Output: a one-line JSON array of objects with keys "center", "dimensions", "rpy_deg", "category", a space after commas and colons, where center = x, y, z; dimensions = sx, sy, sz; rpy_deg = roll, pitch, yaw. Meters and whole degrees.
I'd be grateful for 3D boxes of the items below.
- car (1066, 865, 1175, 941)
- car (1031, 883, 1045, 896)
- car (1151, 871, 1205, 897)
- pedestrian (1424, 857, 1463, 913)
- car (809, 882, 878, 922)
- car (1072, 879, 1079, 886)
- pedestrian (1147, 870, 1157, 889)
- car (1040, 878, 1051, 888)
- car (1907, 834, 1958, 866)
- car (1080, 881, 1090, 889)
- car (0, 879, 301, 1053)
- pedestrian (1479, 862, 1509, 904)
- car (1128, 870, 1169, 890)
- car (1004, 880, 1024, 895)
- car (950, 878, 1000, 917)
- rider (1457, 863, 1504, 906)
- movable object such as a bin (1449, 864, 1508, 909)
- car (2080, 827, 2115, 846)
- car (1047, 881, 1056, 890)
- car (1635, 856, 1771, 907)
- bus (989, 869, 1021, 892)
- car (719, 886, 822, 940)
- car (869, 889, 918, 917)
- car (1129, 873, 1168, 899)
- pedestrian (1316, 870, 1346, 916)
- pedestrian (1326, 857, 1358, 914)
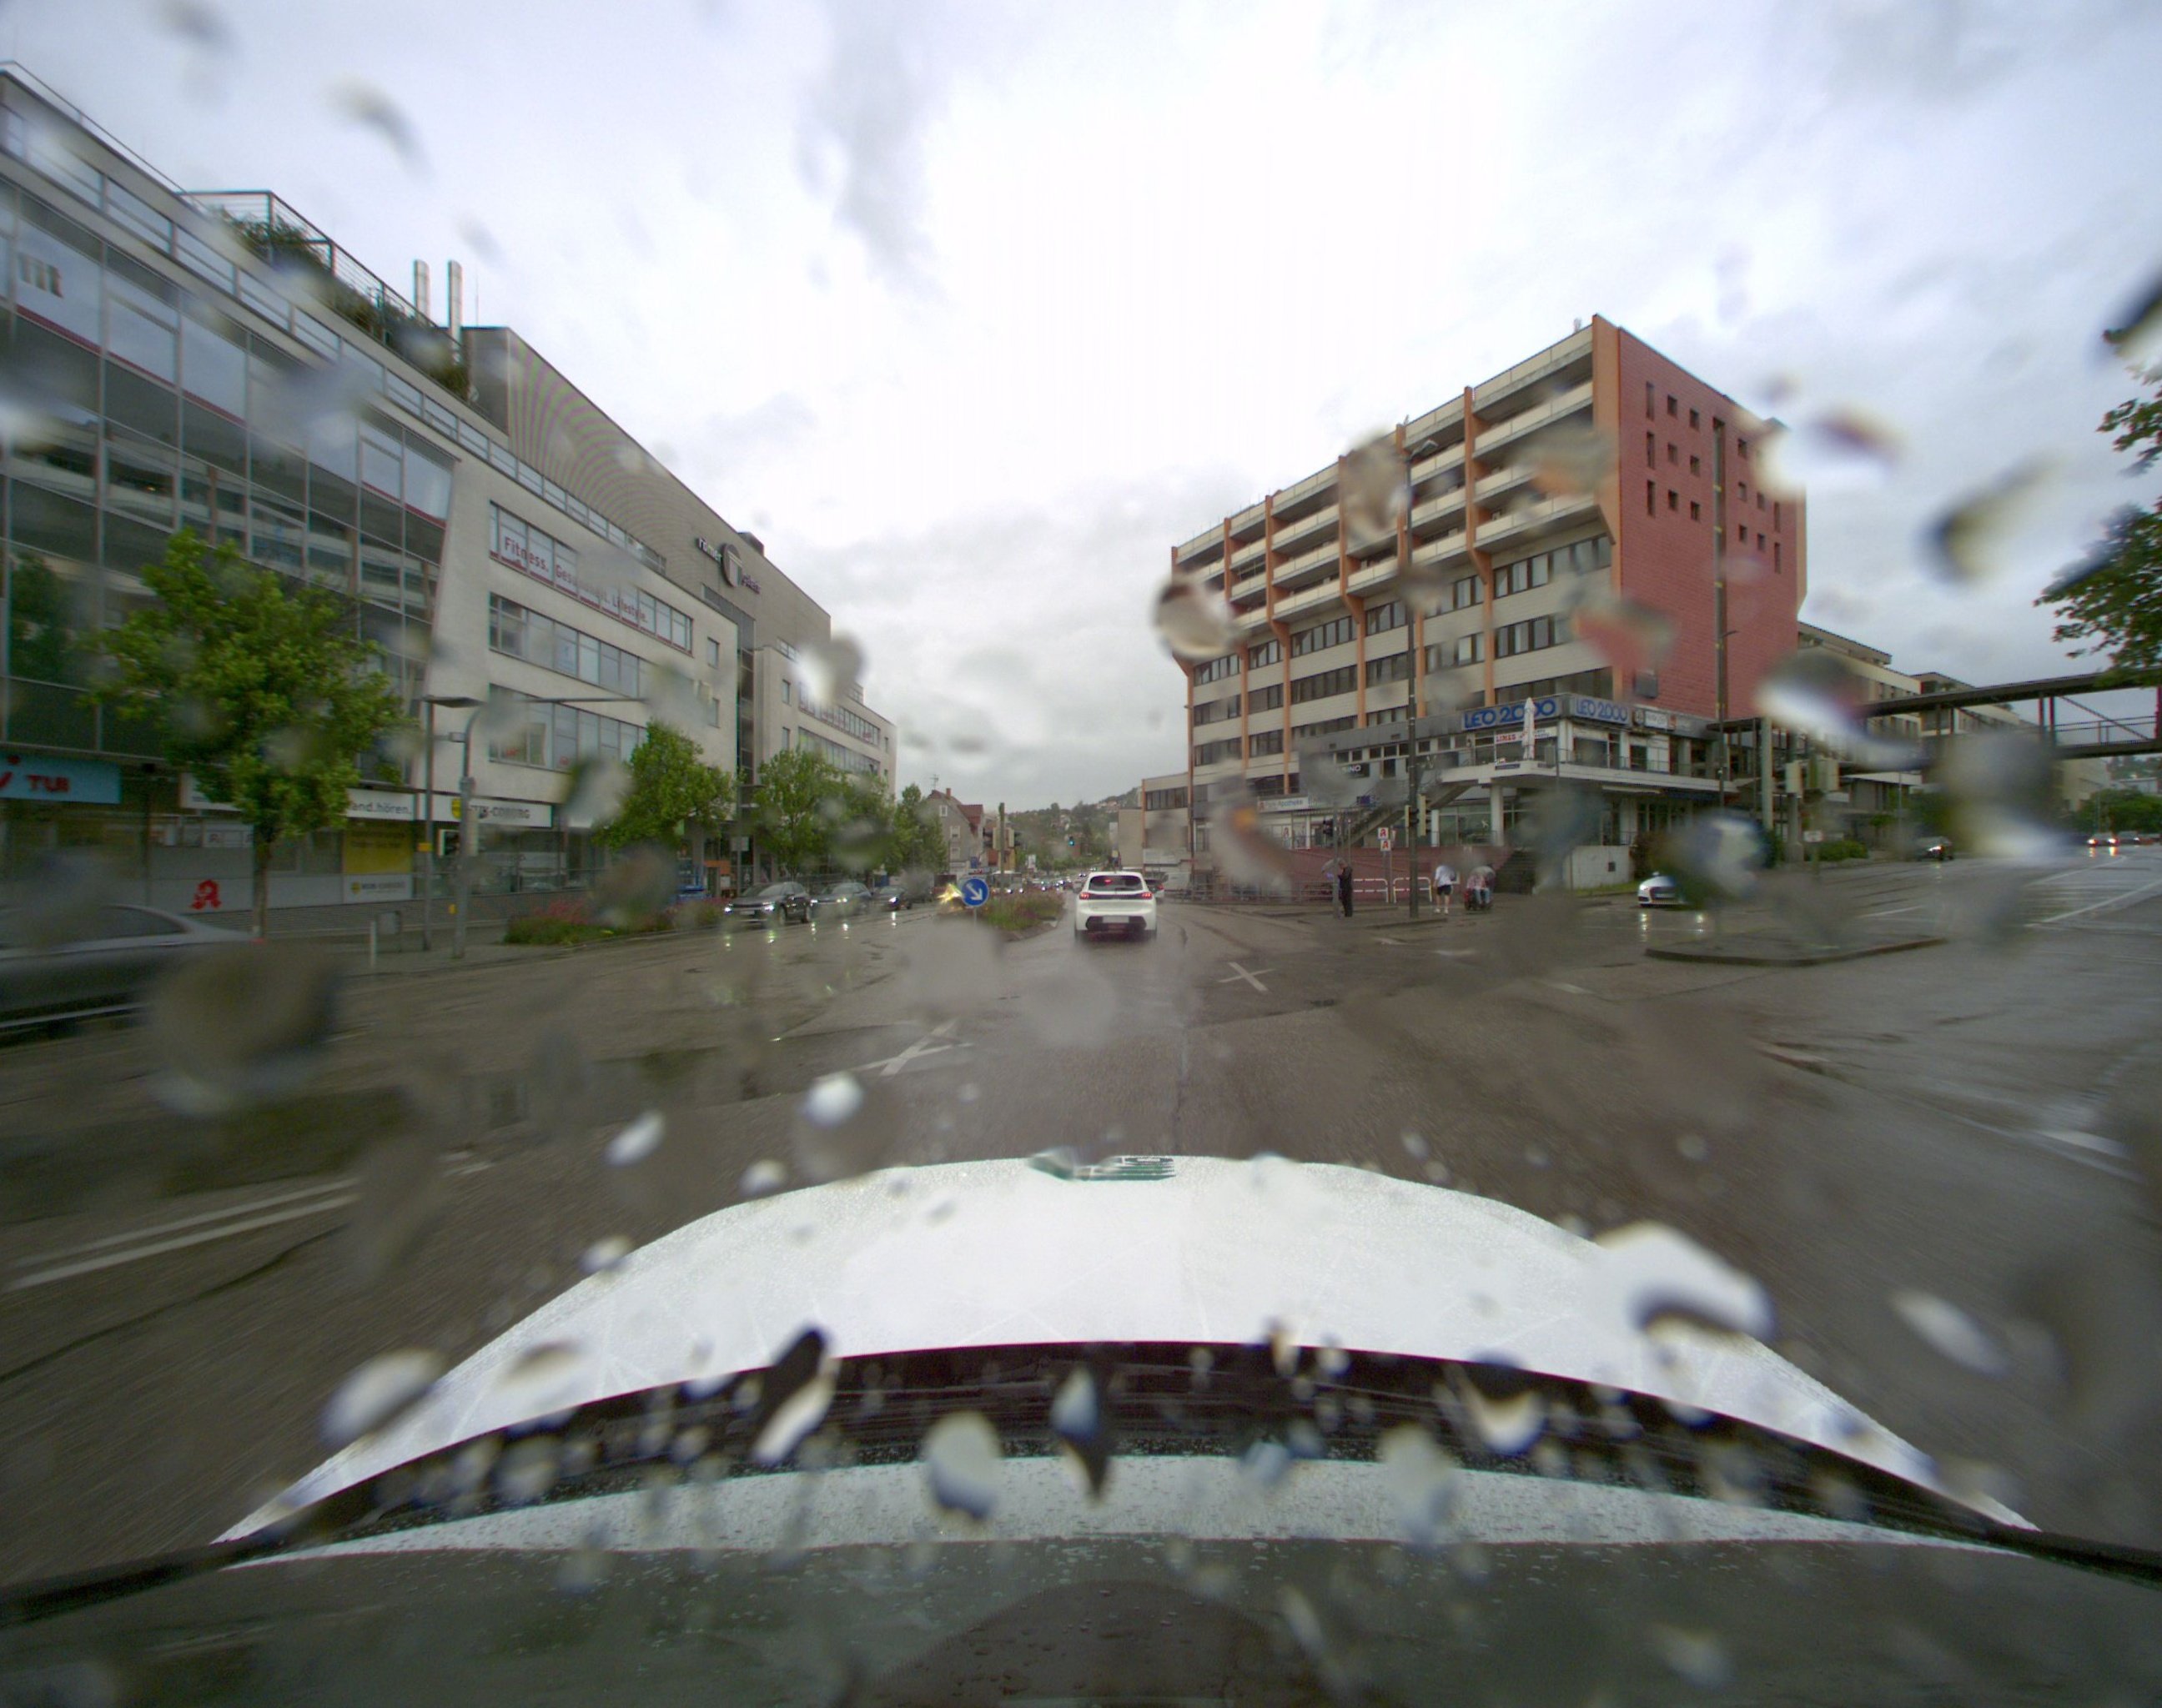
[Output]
[{"center": [0.992, 0.998, 18.082], "dimensions": [1.860, 1.462, 3.884], "rpy_deg": [0, -1, 11], "category": "car"}, {"center": [-6.093, 5.001, 115.251], "dimensions": [1.810, 1.555, 3.997], "rpy_deg": [-2, -1, -2], "category": "car"}, {"center": [8.731, 2.718, 73.482], "dimensions": [2.008, 2.227, 4.922], "rpy_deg": [-1, -1, -35], "category": "car"}, {"center": [11.237, 0.952, 25.298], "dimensions": [0.823, 1.691, 1.132], "rpy_deg": [-1, -1, 10], "category": "pedestrian"}, {"center": [-11.418, 2.274, 39.464], "dimensions": [1.767, 1.594, 4.589], "rpy_deg": [-4, -1, 1], "category": "car"}, {"center": [-1.292, 7.234, 206.059], "dimensions": [1.741, 1.555, 3.998], "rpy_deg": [-2, -1, -1], "category": "car"}, {"center": [6.701, 2.428, 76.934], "dimensions": [0.644, 1.823, 0.577], "rpy_deg": [-1, -2, -32], "category": "pedestrian"}, {"center": [-5.913, 4.799, 135.761], "dimensions": [1.741, 1.555, 3.998], "rpy_deg": [-2, -1, -1], "category": "car"}, {"center": [56.696, -0.236, 54.192], "dimensions": [4.020, 2.014, 1.977], "rpy_deg": [0, -2, -40], "category": "car"}, {"center": [0.746, 5.984, 157.834], "dimensions": [1.741, 1.555, 3.998], "rpy_deg": [-2, -1, -1], "category": "car"}, {"center": [-11.455, 1.140, 8.484], "dimensions": [1.914, 1.632, 4.902], "rpy_deg": [-1, -1, 0], "category": "car"}, {"center": [16.652, 1.160, 32.822], "dimensions": [0.790, 1.669, 0.933], "rpy_deg": [-1, -1, 7], "category": "pedestrian"}, {"center": [6.518, 2.517, 79.041], "dimensions": [1.897, 1.879, 4.094], "rpy_deg": [-1, -1, -31], "category": "car"}, {"center": [-7.230, 3.600, 88.047], "dimensions": [1.888, 1.555, 3.997], "rpy_deg": [-2, -1, -2], "category": "car"}, {"center": [-5.517, 2.285, 42.980], "dimensions": [1.987, 1.824, 4.297], "rpy_deg": [-3, -3, 0], "category": "car"}, {"center": [12.817, 0.965, 26.147], "dimensions": [0.919, 1.284, 1.090], "rpy_deg": [-3, 0, 0], "category": "rider"}, {"center": [12.818, 1.050, 26.311], "dimensions": [1.126, 1.332, 1.454], "rpy_deg": [-3, -2, 0], "category": "movable object such as a bin"}, {"center": [104.685, -1.806, 83.839], "dimensions": [4.013, 1.807, 1.699], "rpy_deg": [0, -2, -31], "category": "car"}, {"center": [-5.771, 6.192, 159.361], "dimensions": [1.741, 1.555, 3.998], "rpy_deg": [-2, -1, -1], "category": "car"}, {"center": [19.279, 0.816, 25.172], "dimensions": [4.807, 1.406, 1.793], "rpy_deg": [-1, -2, -33], "category": "car"}, {"center": [-9.845, 3.358, 105.946], "dimensions": [2.928, 2.783, 9.506], "rpy_deg": [-2, -1, 1], "category": "bus"}, {"center": [-11.266, 2.085, 29.927], "dimensions": [1.869, 1.594, 4.525], "rpy_deg": [-4, -1, 1], "category": "car"}, {"center": [-10.612, 2.746, 46.429], "dimensions": [1.720, 1.388, 4.599], "rpy_deg": [-2, -2, 0], "category": "car"}, {"center": [3.760, 1.783, 45.868], "dimensions": [1.905, 1.400, 3.457], "rpy_deg": [0, -1, 0], "category": "car"}, {"center": [7.525, 1.168, 24.540], "dimensions": [0.704, 1.346, 0.656], "rpy_deg": [-1, -2, 4], "category": "pedestrian"}, {"center": [7.584, 0.918, 23.658], "dimensions": [0.704, 1.607, 0.656], "rpy_deg": [-2, 0, 4], "category": "pedestrian"}]
